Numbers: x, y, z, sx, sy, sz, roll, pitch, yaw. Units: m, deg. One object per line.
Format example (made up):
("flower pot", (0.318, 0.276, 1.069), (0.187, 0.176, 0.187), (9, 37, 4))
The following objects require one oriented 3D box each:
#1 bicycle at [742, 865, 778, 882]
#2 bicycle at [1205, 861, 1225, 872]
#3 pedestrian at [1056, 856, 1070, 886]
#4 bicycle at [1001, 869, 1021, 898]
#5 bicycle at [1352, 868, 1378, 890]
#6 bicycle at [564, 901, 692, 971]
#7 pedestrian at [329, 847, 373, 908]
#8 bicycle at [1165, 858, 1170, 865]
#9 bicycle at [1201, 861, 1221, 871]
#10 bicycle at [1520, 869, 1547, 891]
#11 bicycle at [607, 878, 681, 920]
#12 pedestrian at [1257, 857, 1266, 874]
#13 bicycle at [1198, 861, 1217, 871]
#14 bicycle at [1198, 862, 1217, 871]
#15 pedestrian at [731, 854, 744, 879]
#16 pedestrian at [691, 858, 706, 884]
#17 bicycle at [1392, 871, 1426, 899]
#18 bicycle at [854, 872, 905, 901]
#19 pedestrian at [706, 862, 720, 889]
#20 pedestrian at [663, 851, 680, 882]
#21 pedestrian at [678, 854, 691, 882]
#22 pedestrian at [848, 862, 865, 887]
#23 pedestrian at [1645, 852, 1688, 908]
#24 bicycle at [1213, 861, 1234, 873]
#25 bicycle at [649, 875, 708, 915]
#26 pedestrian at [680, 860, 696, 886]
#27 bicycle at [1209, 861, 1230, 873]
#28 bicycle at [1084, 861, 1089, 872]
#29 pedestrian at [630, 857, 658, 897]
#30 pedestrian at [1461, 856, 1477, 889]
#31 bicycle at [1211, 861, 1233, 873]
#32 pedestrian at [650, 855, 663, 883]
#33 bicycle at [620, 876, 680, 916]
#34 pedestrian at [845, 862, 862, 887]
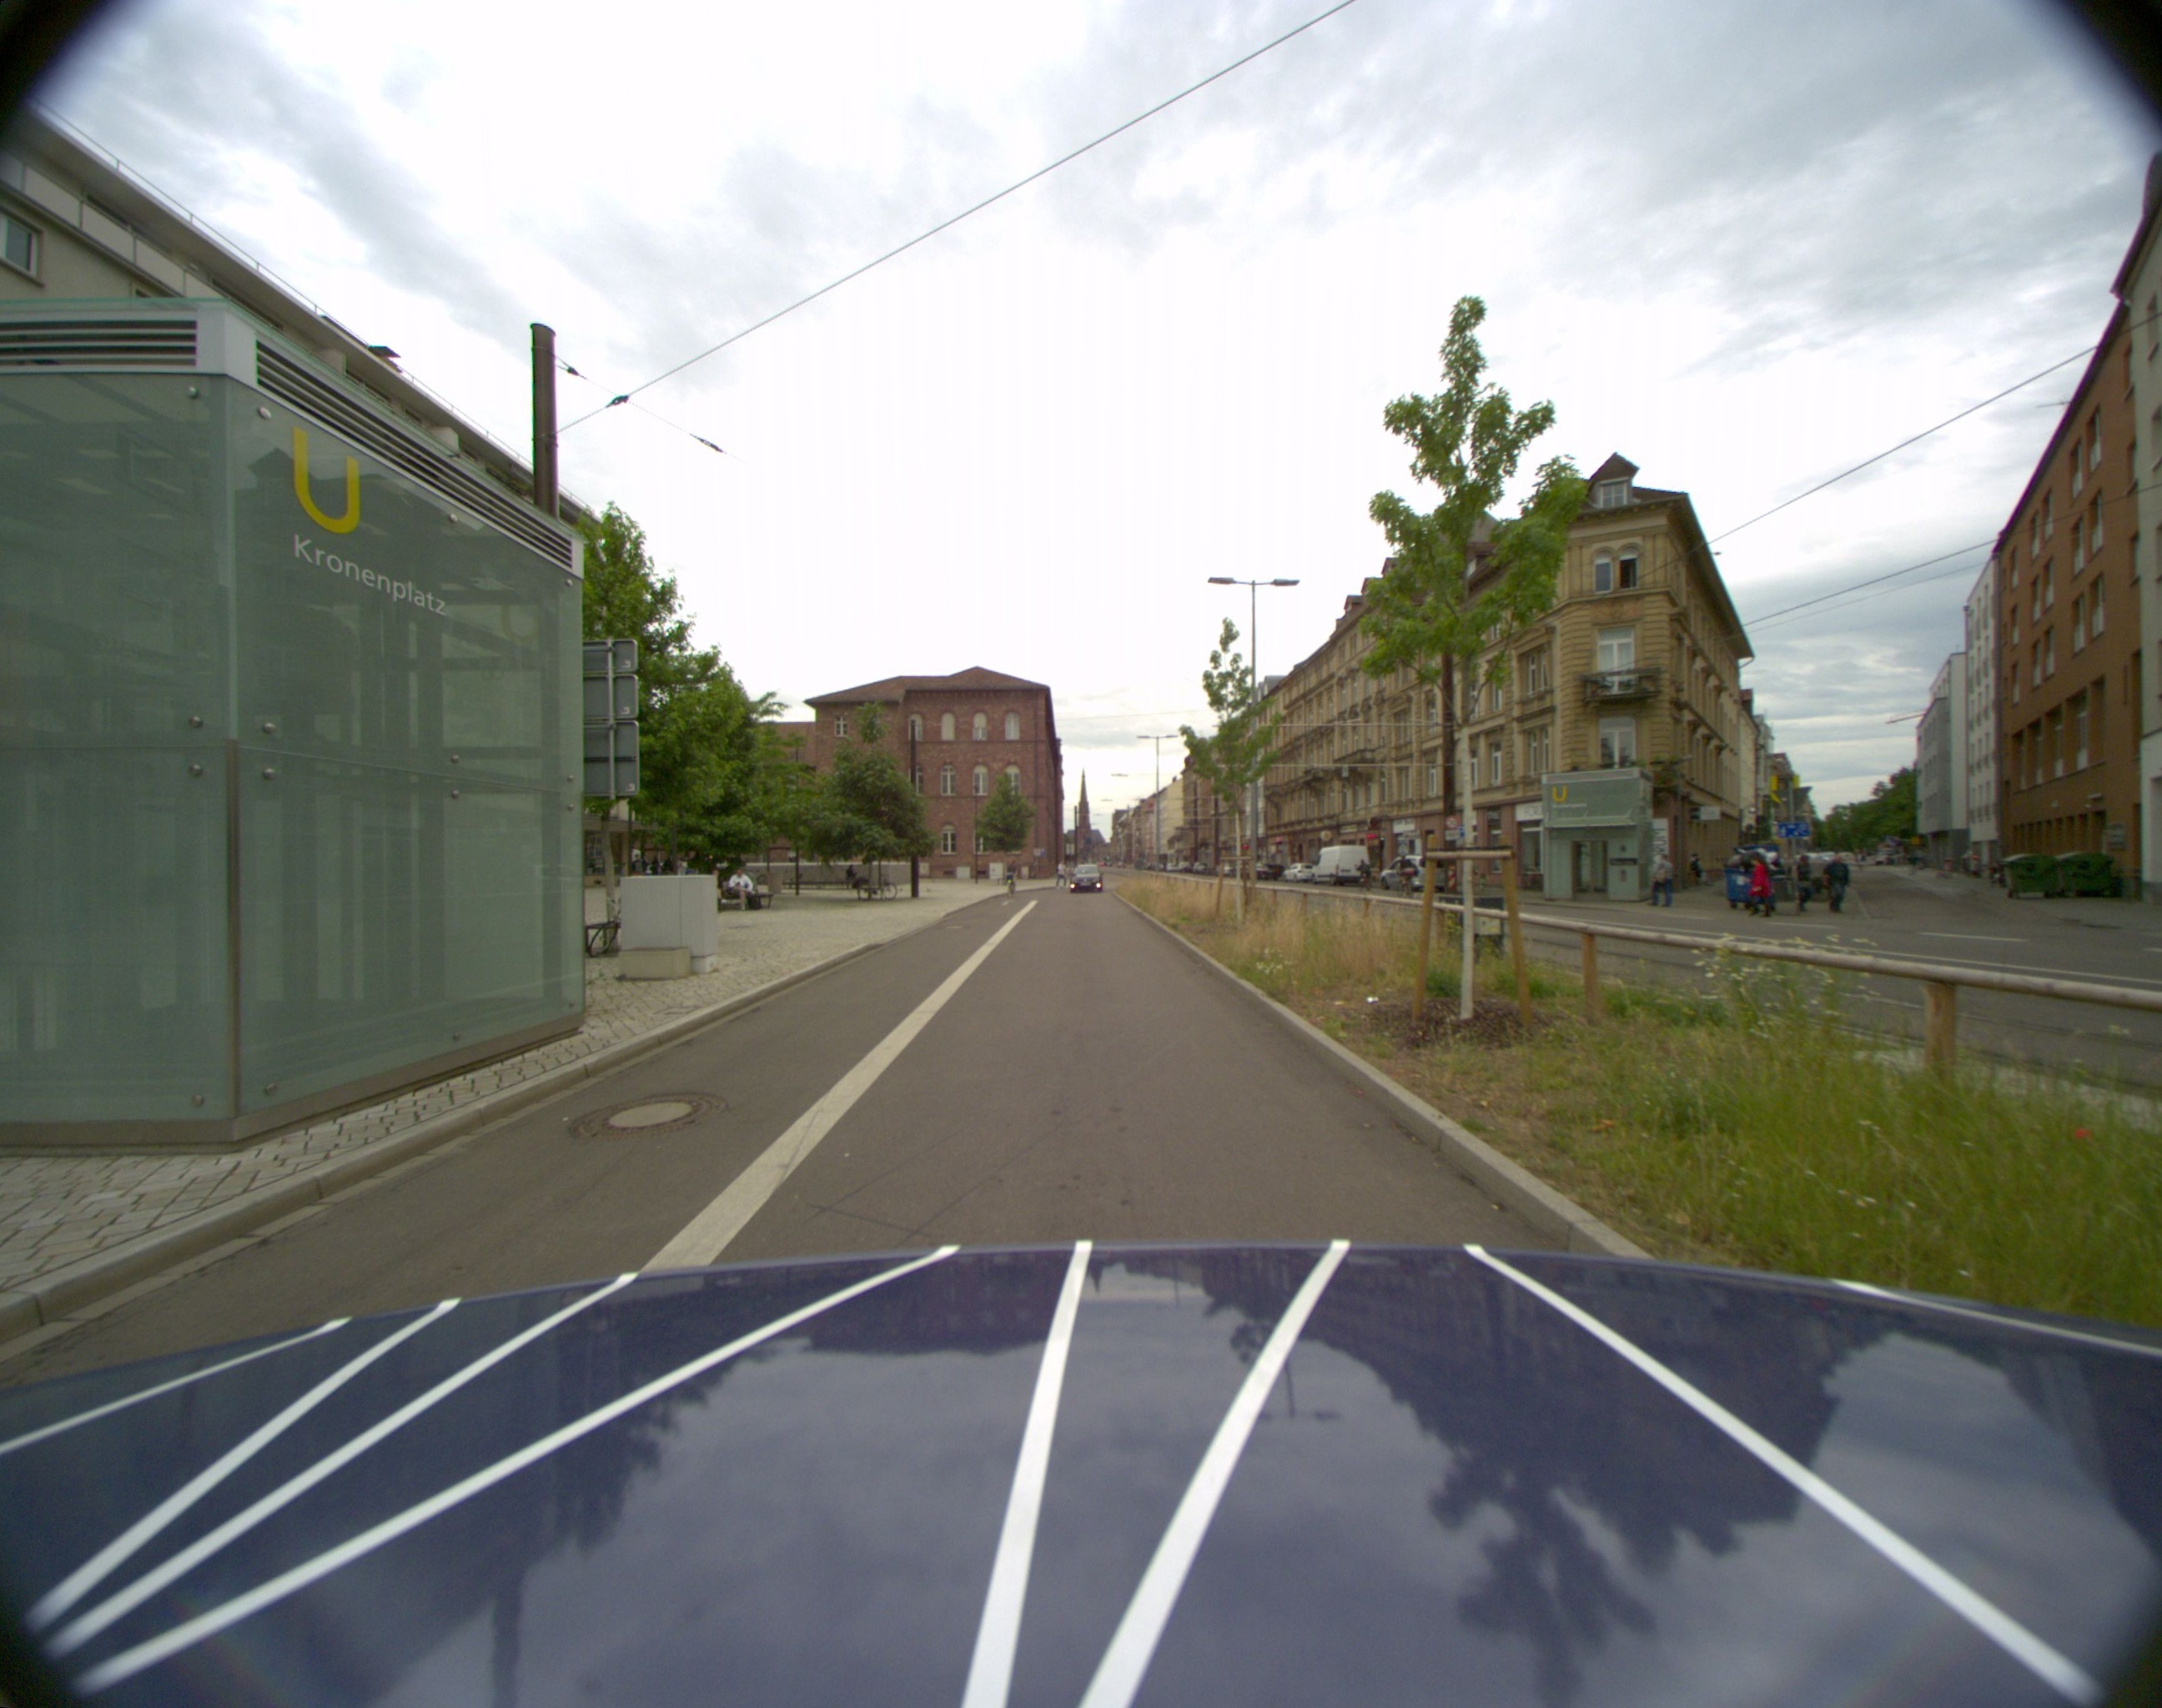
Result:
("bicycle", (-20.391, 1.246, 48.270), (2.029, 1.058, 0.470), (1, 0, -2))
("bicycle", (16.236, 1.529, 91.916), (2.288, 1.321, 0.666), (1, 0, 0))
("pedestrian", (-1.148, 1.096, 48.627), (0.872, 1.890, 0.773), (1, 0, -2))
("bicycle", (-3.228, 1.335, 35.177), (0.524, 1.253, 1.942), (0, 0, 7))
("bicycle", (13.891, 1.229, 37.228), (0.480, 1.015, 1.912), (0, 0, -2))
("bicycle", (-7.559, 1.331, 12.762), (0.658, 0.972, 1.758), (0, 0, 28))
("pedestrian", (-23.023, 0.716, 23.954), (0.774, 1.874, 0.854), (-1, 0, 38))
("bicycle", (13.873, 1.163, 122.533), (0.586, 1.167, 2.045), (1, 0, 1))
("bicycle", (16.162, 1.513, 94.659), (2.288, 1.196, 0.705), (1, 0, 0))
("bicycle", (20.115, 1.142, 33.795), (0.340, 0.953, 1.688), (-2, 0, 7))
("bicycle", (-12.208, 1.241, 21.237), (2.037, 1.104, 0.478), (1, 0, 15))
("pedestrian", (19.235, 1.188, 80.903), (0.653, 1.772, 0.787), (-1, 0, 36))
("bicycle", (15.923, 1.542, 95.956), (2.288, 1.196, 0.705), (1, 0, 0))
("bicycle", (16.060, 1.590, 96.642), (2.288, 1.196, 0.547), (-1, 0, 0))
("pedestrian", (-22.951, 0.853, 50.773), (0.513, 1.660, 0.593), (0, -1, 20))
("pedestrian", (-24.832, 1.124, 49.370), (0.642, 1.660, 0.593), (0, -1, 20))
("bicycle", (13.161, 1.228, 30.513), (0.477, 1.015, 1.912), (0, 0, -2))
("bicycle", (-8.366, 1.341, 31.590), (1.917, 1.116, 0.645), (-2, 0, 10))
("pedestrian", (-22.937, 1.360, 47.342), (0.513, 1.660, 0.593), (0, -1, 21))
("pedestrian", (-23.431, 0.712, 43.444), (0.590, 1.757, 0.645), (-1, -1, 36))
("pedestrian", (-22.721, 0.818, 43.555), (0.593, 1.576, 0.642), (1, -1, -33))
("pedestrian", (-13.015, 1.189, 44.051), (0.781, 1.447, 0.766), (2, 0, -30))
("pedestrian", (18.058, 0.792, 23.454), (0.823, 1.677, 0.723), (0, 2, 17))
("bicycle", (16.067, 1.443, 85.631), (2.288, 1.321, 0.666), (1, 0, 0))
("bicycle", (-11.733, 1.177, 22.157), (1.602, 1.104, 0.478), (1, 0, 14))
("pedestrian", (-24.951, 1.189, 48.227), (0.642, 1.660, 0.592), (0, -1, 15))
("bicycle", (16.083, 1.466, 88.263), (2.288, 1.321, 0.666), (1, 0, 0))
("bicycle", (0.546, 1.329, 79.756), (0.472, 1.151, 2.272), (0, 0, -1))
("pedestrian", (-19.778, 1.042, 34.391), (0.773, 1.762, 1.066), (1, 0, -11))
("pedestrian", (18.599, 0.881, 36.452), (0.554, 1.547, 0.658), (-2, 0, 17))
("bicycle", (16.014, 1.475, 86.353), (2.288, 1.321, 0.521), (1, 0, 0))
("pedestrian", (-24.053, 0.833, 43.005), (0.593, 1.576, 0.642), (1, -1, -33))
("bicycle", (-12.379, 1.194, 21.813), (1.602, 1.104, 0.478), (1, 0, 14))
("pedestrian", (-13.401, 1.185, 44.734), (0.781, 1.447, 0.766), (2, 0, -30))
